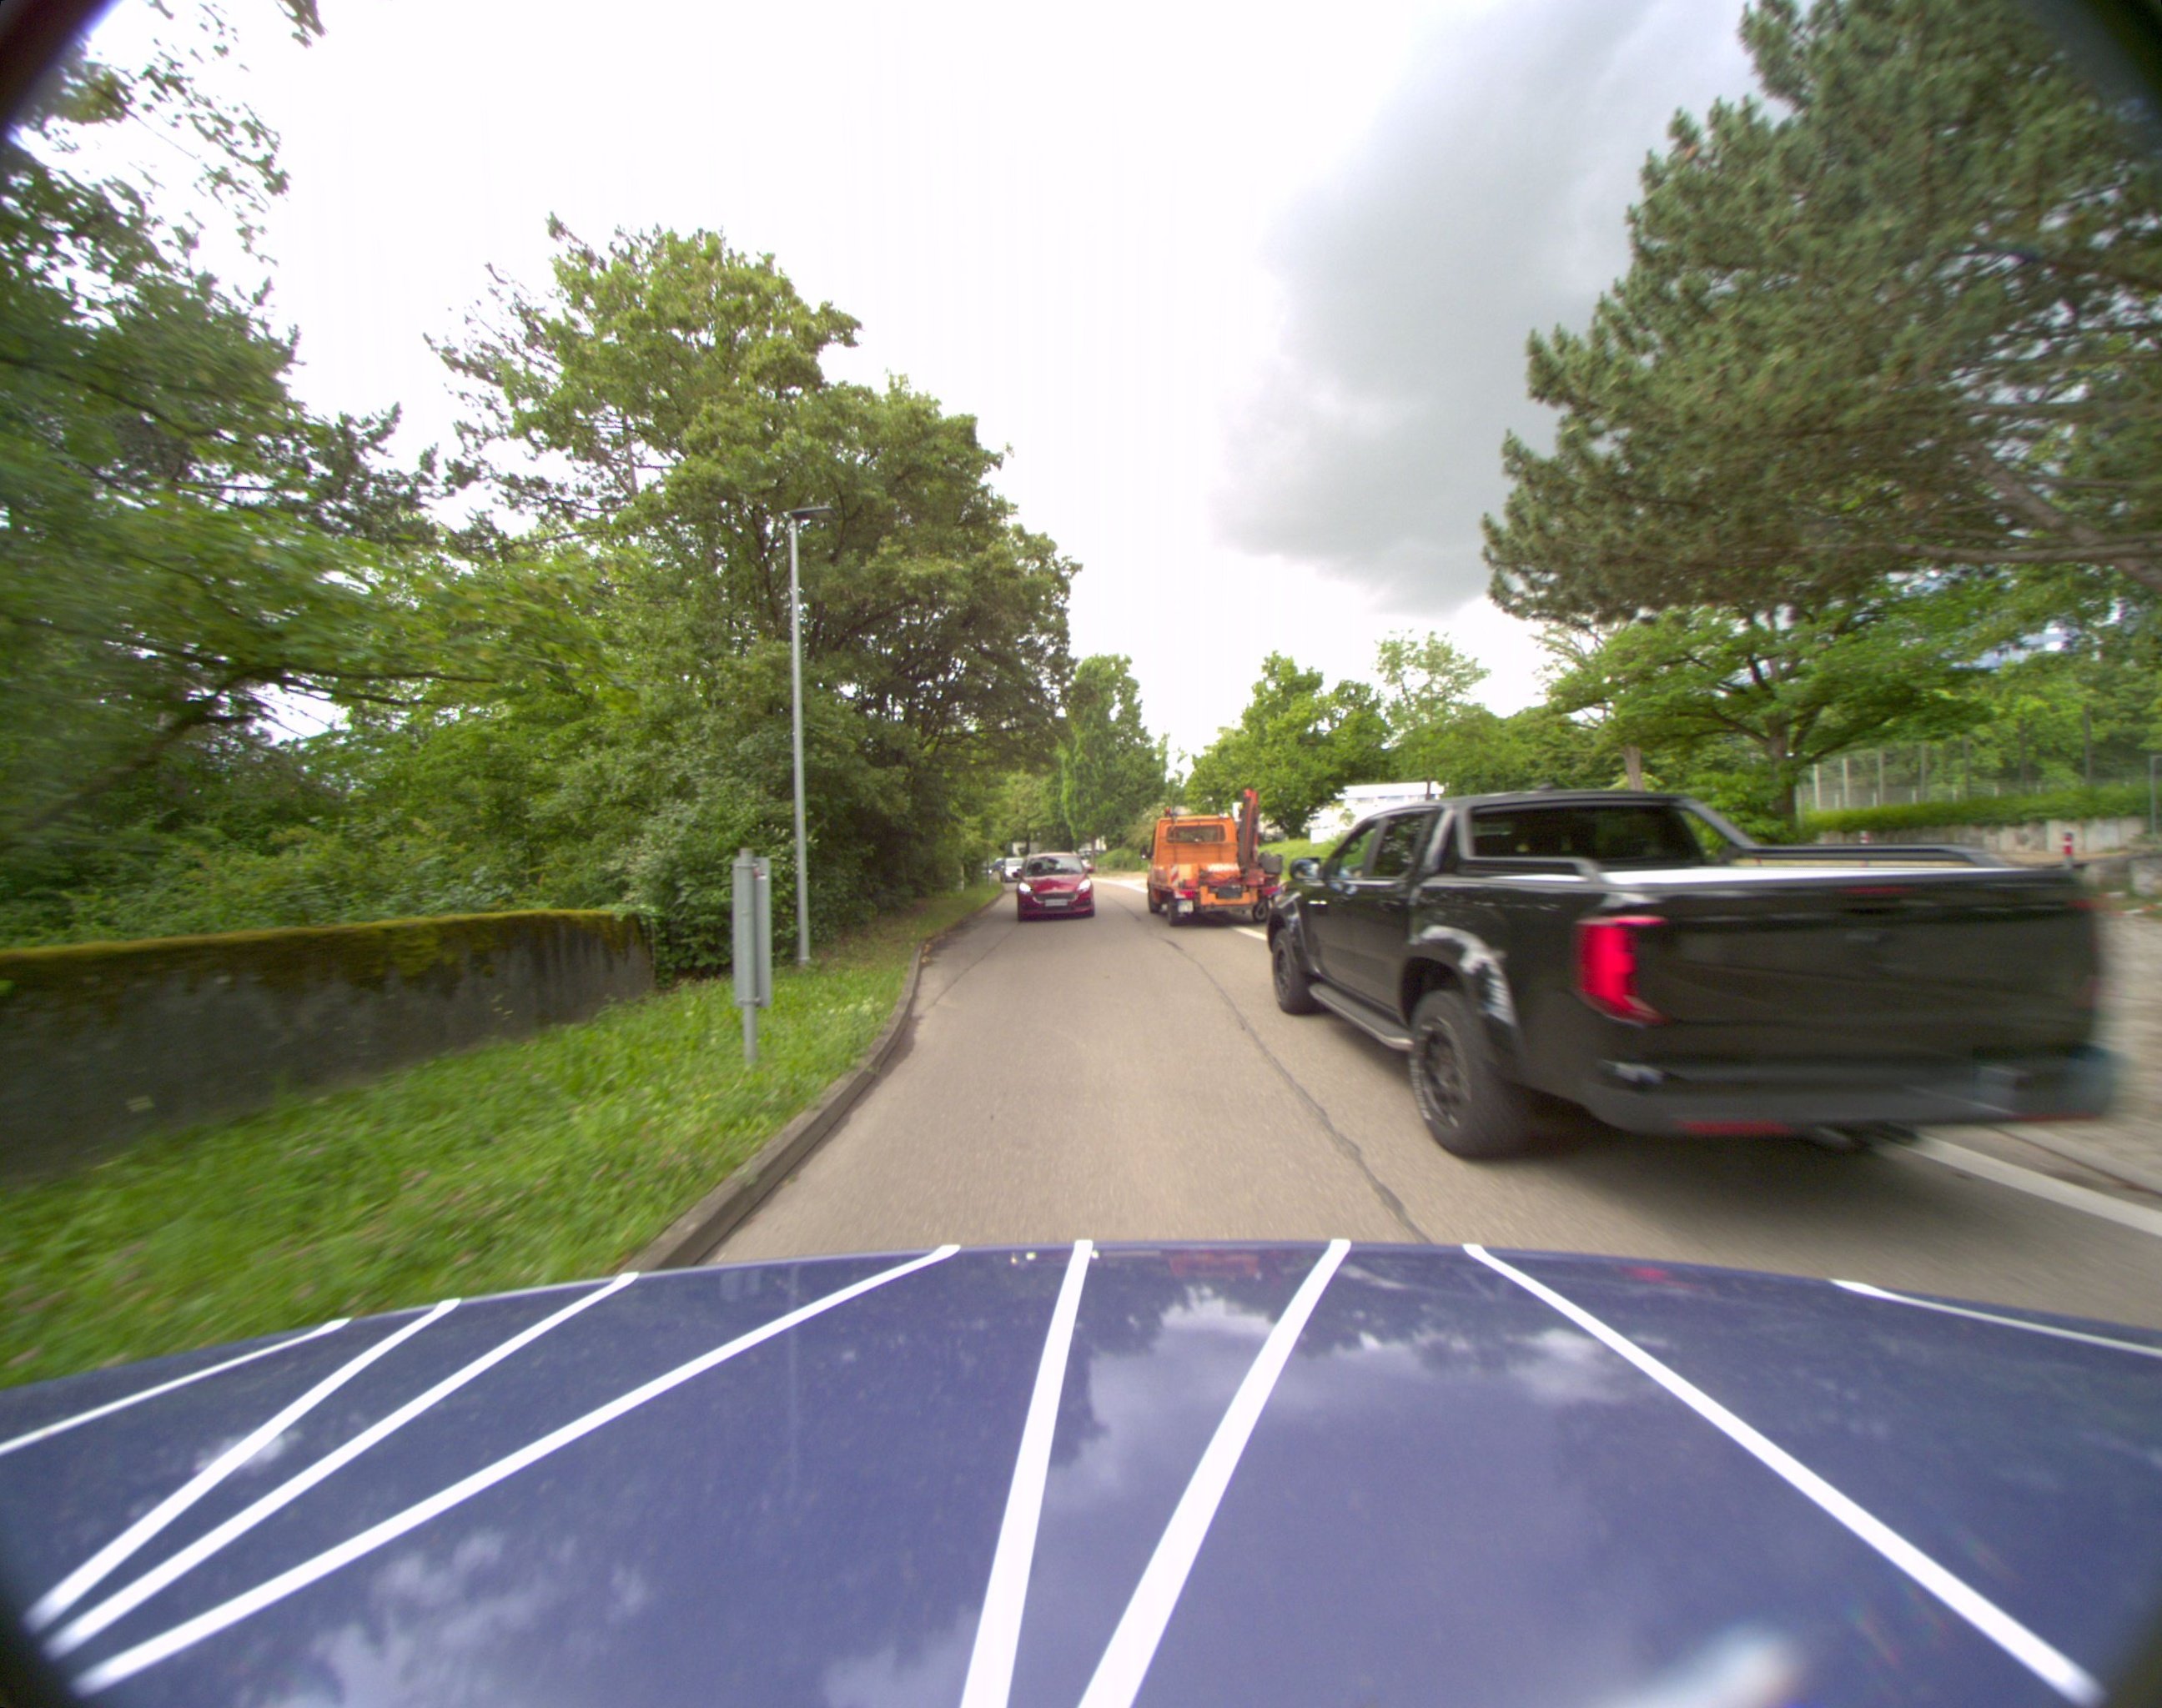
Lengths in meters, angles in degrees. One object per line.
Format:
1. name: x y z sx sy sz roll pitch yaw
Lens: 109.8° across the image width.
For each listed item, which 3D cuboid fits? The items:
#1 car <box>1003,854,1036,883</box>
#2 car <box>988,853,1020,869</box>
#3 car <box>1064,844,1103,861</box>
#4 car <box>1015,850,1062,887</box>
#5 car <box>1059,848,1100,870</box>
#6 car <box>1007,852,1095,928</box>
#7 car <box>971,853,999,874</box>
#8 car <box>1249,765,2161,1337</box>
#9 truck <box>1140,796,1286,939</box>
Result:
1. car: -4.117 0.938 50.889 1.999 1.684 3.997 -4 2 -5
2. car: -8.106 0.732 79.698 1.856 1.483 3.991 -3 1 -28
3. car: 0.272 -0.132 83.985 3.802 1.629 2.003 -3 2 28
4. car: -2.056 0.648 35.886 1.948 1.523 4.084 -4 1 -5
5. car: -0.179 0.367 57.535 1.854 1.483 4.630 -3 0 -15
6. car: -0.746 0.824 19.666 1.945 1.550 4.354 -4 1 -1
7. car: -8.851 0.874 69.708 2.001 1.663 3.994 -4 2 -14
8. car: 2.616 0.590 4.995 1.998 1.725 5.337 -2 1 2
9. truck: 2.623 0.246 16.781 2.328 2.455 6.021 -4 0 3
